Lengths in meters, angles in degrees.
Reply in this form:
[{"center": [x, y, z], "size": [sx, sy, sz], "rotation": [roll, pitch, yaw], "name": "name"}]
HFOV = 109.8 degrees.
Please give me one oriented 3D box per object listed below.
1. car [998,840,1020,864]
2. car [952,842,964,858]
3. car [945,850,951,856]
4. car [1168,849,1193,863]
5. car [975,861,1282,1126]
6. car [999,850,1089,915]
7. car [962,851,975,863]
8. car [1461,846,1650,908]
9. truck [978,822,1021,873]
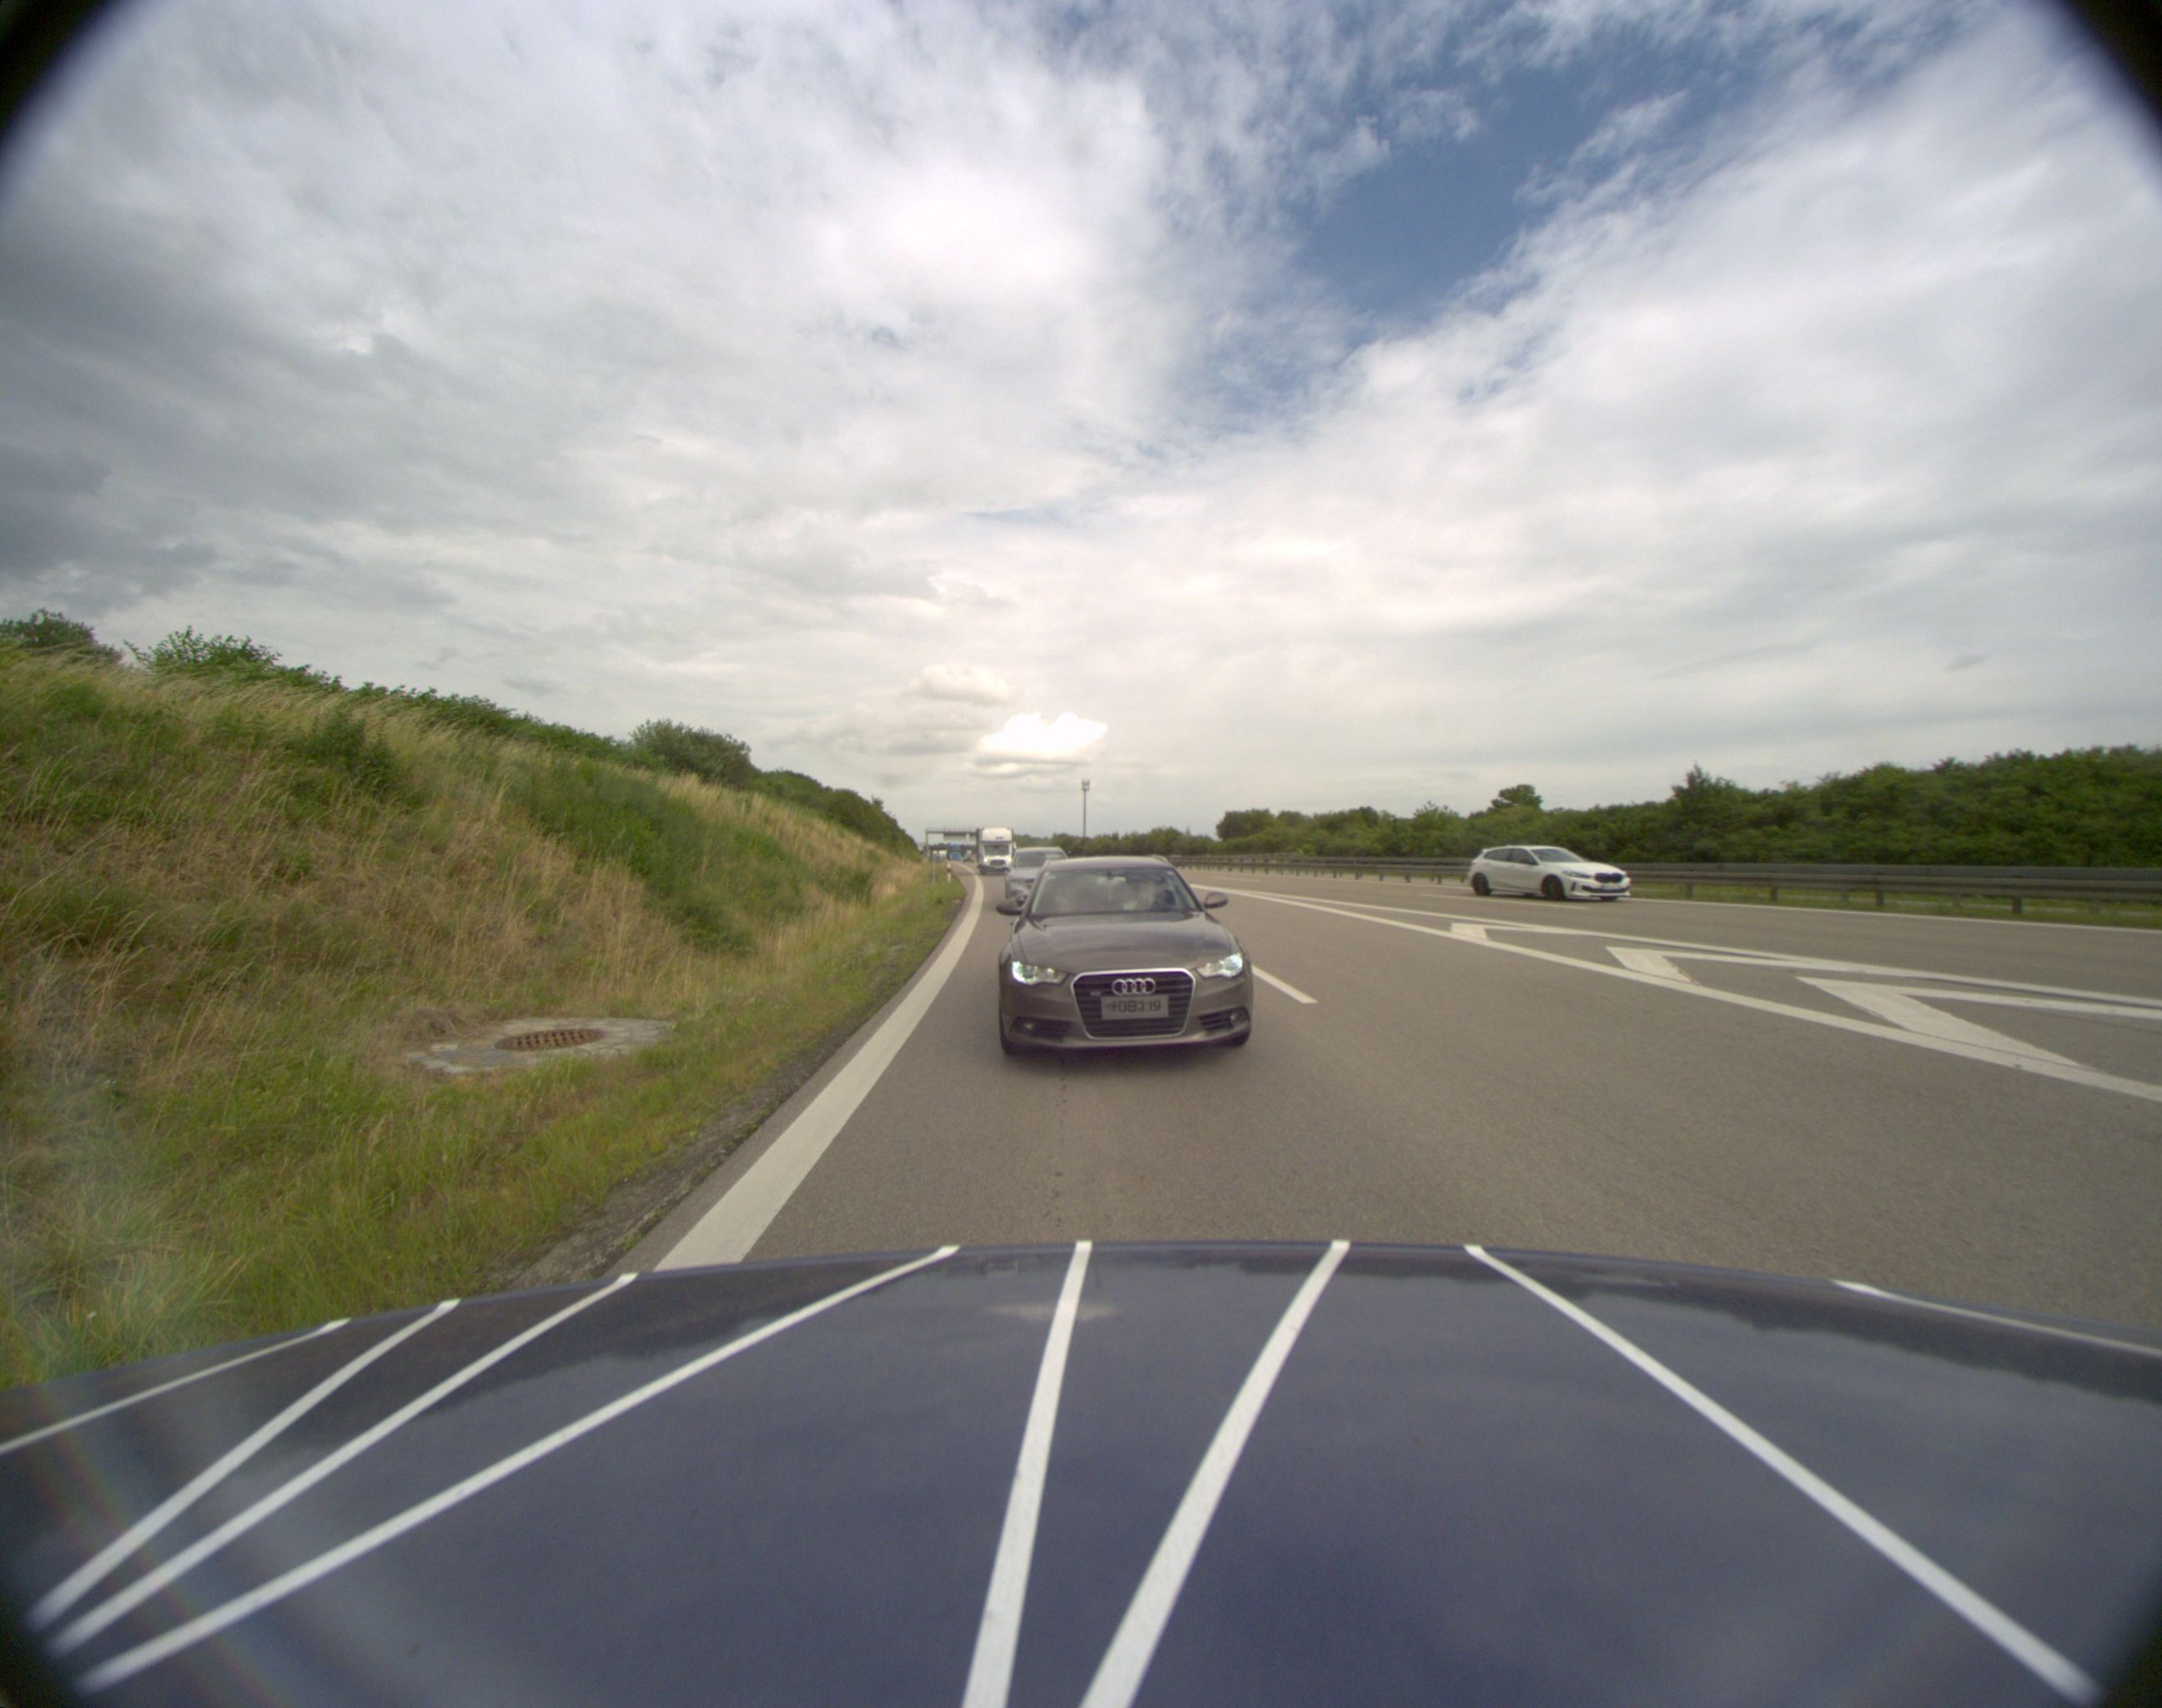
[{"center": [-7.653, -0.246, 80.562], "size": [2.000, 2.381, 3.996], "rotation": [-2, 1, -8], "name": "car"}, {"center": [-28.188, -0.906, 173.730], "size": [2.506, 3.689, 7.693], "rotation": [-1, 1, -11], "name": "car"}, {"center": [-41.469, -0.281, 236.711], "size": [1.931, 2.020, 3.996], "rotation": [-1, 1, -10], "name": "car"}, {"center": [12.425, 0.244, 95.228], "size": [2.000, 1.792, 3.996], "rotation": [0, 1, -10], "name": "car"}, {"center": [0.247, 0.871, 6.661], "size": [1.849, 1.489, 4.027], "rotation": [-2, 1, -2], "name": "car"}, {"center": [-1.105, 0.692, 20.661], "size": [2.000, 1.567, 3.996], "rotation": [-1, 1, -9], "name": "car"}, {"center": [-19.045, 0.481, 128.153], "size": [2.000, 2.002, 3.996], "rotation": [-1, 1, -10], "name": "car"}, {"center": [12.506, 0.532, 20.419], "size": [1.842, 1.445, 4.374], "rotation": [-1, 1, -11], "name": "car"}, {"center": [-5.747, -0.437, 52.487], "size": [2.450, 3.217, 7.184], "rotation": [-1, 1, -10], "name": "truck"}]
